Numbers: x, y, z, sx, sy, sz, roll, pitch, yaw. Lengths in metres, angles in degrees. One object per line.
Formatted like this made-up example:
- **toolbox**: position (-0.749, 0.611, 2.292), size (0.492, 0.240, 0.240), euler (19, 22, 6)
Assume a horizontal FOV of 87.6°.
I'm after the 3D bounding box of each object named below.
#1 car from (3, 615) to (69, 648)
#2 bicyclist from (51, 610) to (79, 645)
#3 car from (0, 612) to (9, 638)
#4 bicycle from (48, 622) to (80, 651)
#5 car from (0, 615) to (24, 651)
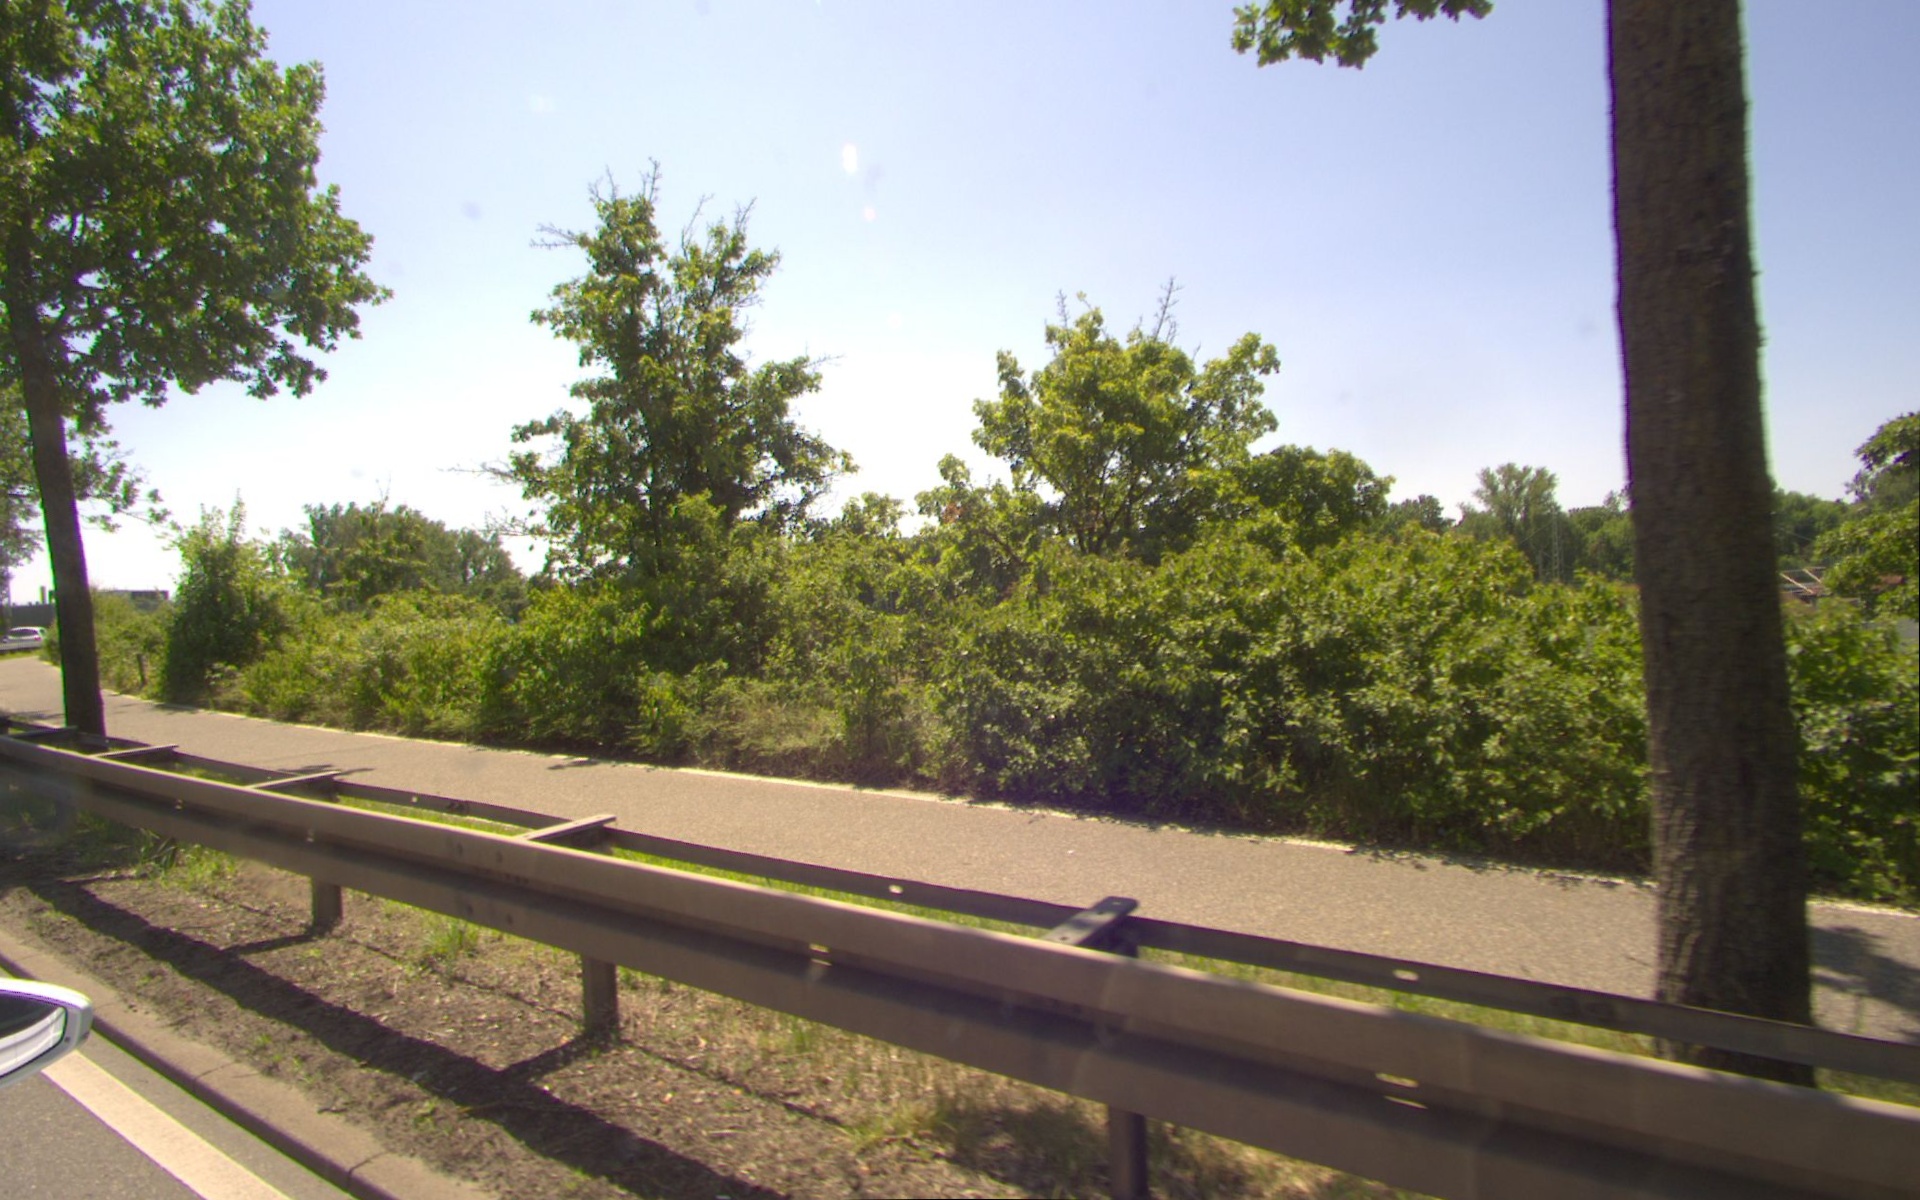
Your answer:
- **car**: position (-52.340, 1.798, 56.812), size (1.974, 1.790, 4.726), euler (0, -2, -33)
- **bicyclist**: position (-40.015, 1.235, 44.774), size (0.853, 1.543, 0.973), euler (0, -1, -38)
- **car**: position (-57.597, 1.474, 58.800), size (1.731, 1.575, 4.103), euler (0, -2, -32)
- **bicycle**: position (-40.069, 1.637, 44.810), size (0.853, 1.252, 2.293), euler (0, -1, -37)
- **car**: position (-48.275, 1.657, 49.686), size (1.975, 1.739, 4.836), euler (1, -2, -35)
